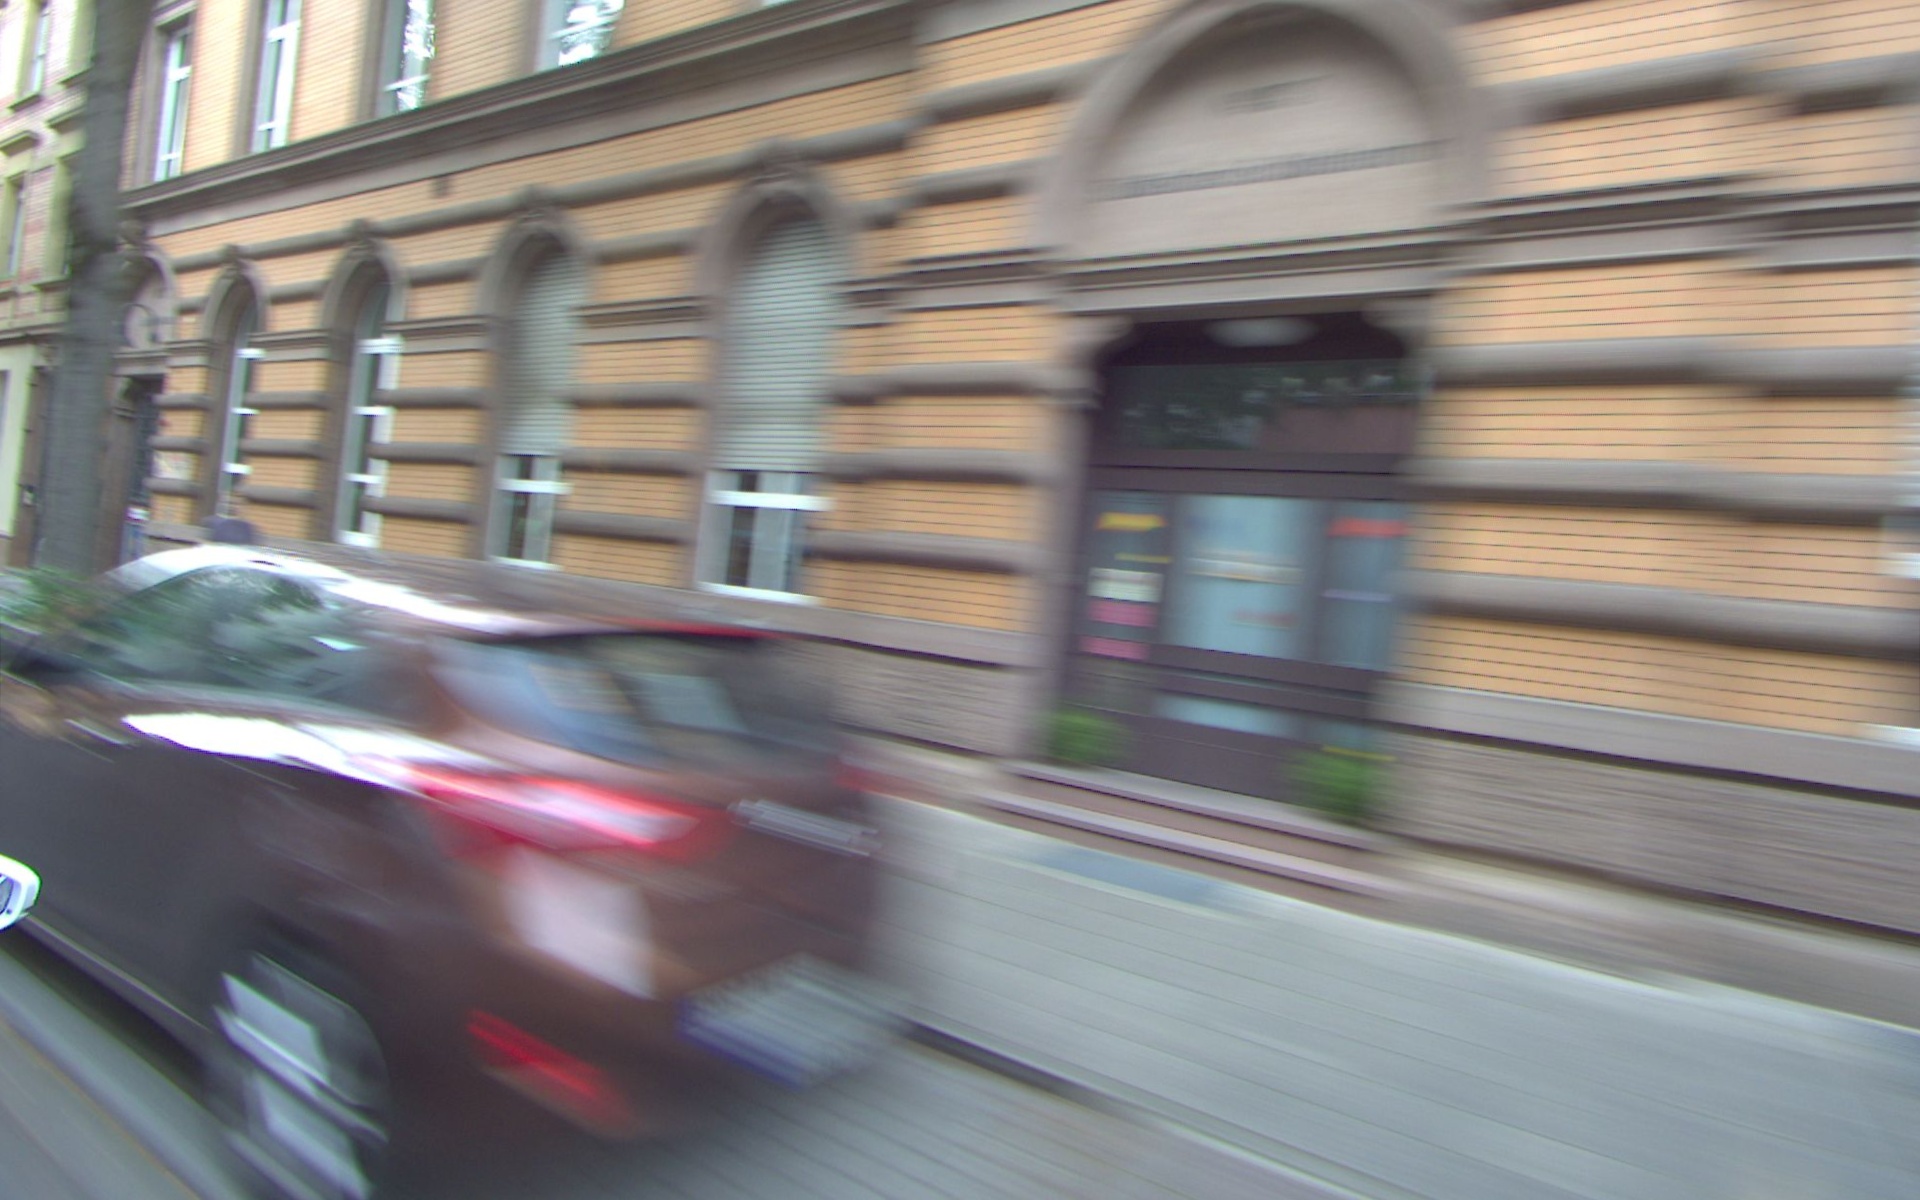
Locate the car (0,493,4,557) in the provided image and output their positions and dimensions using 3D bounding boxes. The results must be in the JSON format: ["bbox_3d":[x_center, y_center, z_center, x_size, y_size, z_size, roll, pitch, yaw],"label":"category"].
[{"bbox_3d":[-10.120,-0.361,8.614,3.932,1.502,1.699,6,1,30],"label":"car"}]

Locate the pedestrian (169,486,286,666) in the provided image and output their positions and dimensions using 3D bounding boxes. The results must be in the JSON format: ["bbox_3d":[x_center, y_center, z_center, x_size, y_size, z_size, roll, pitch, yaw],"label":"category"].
[{"bbox_3d":[-7.185,-0.224,9.877,0.523,1.668,0.628,7,0,32],"label":"pedestrian"}]

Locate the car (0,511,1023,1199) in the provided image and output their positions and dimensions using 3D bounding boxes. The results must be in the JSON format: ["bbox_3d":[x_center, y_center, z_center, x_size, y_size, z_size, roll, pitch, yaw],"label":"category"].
[{"bbox_3d":[-2.068,0.573,3.528,4.145,1.468,1.724,6,0,32],"label":"car"}]
